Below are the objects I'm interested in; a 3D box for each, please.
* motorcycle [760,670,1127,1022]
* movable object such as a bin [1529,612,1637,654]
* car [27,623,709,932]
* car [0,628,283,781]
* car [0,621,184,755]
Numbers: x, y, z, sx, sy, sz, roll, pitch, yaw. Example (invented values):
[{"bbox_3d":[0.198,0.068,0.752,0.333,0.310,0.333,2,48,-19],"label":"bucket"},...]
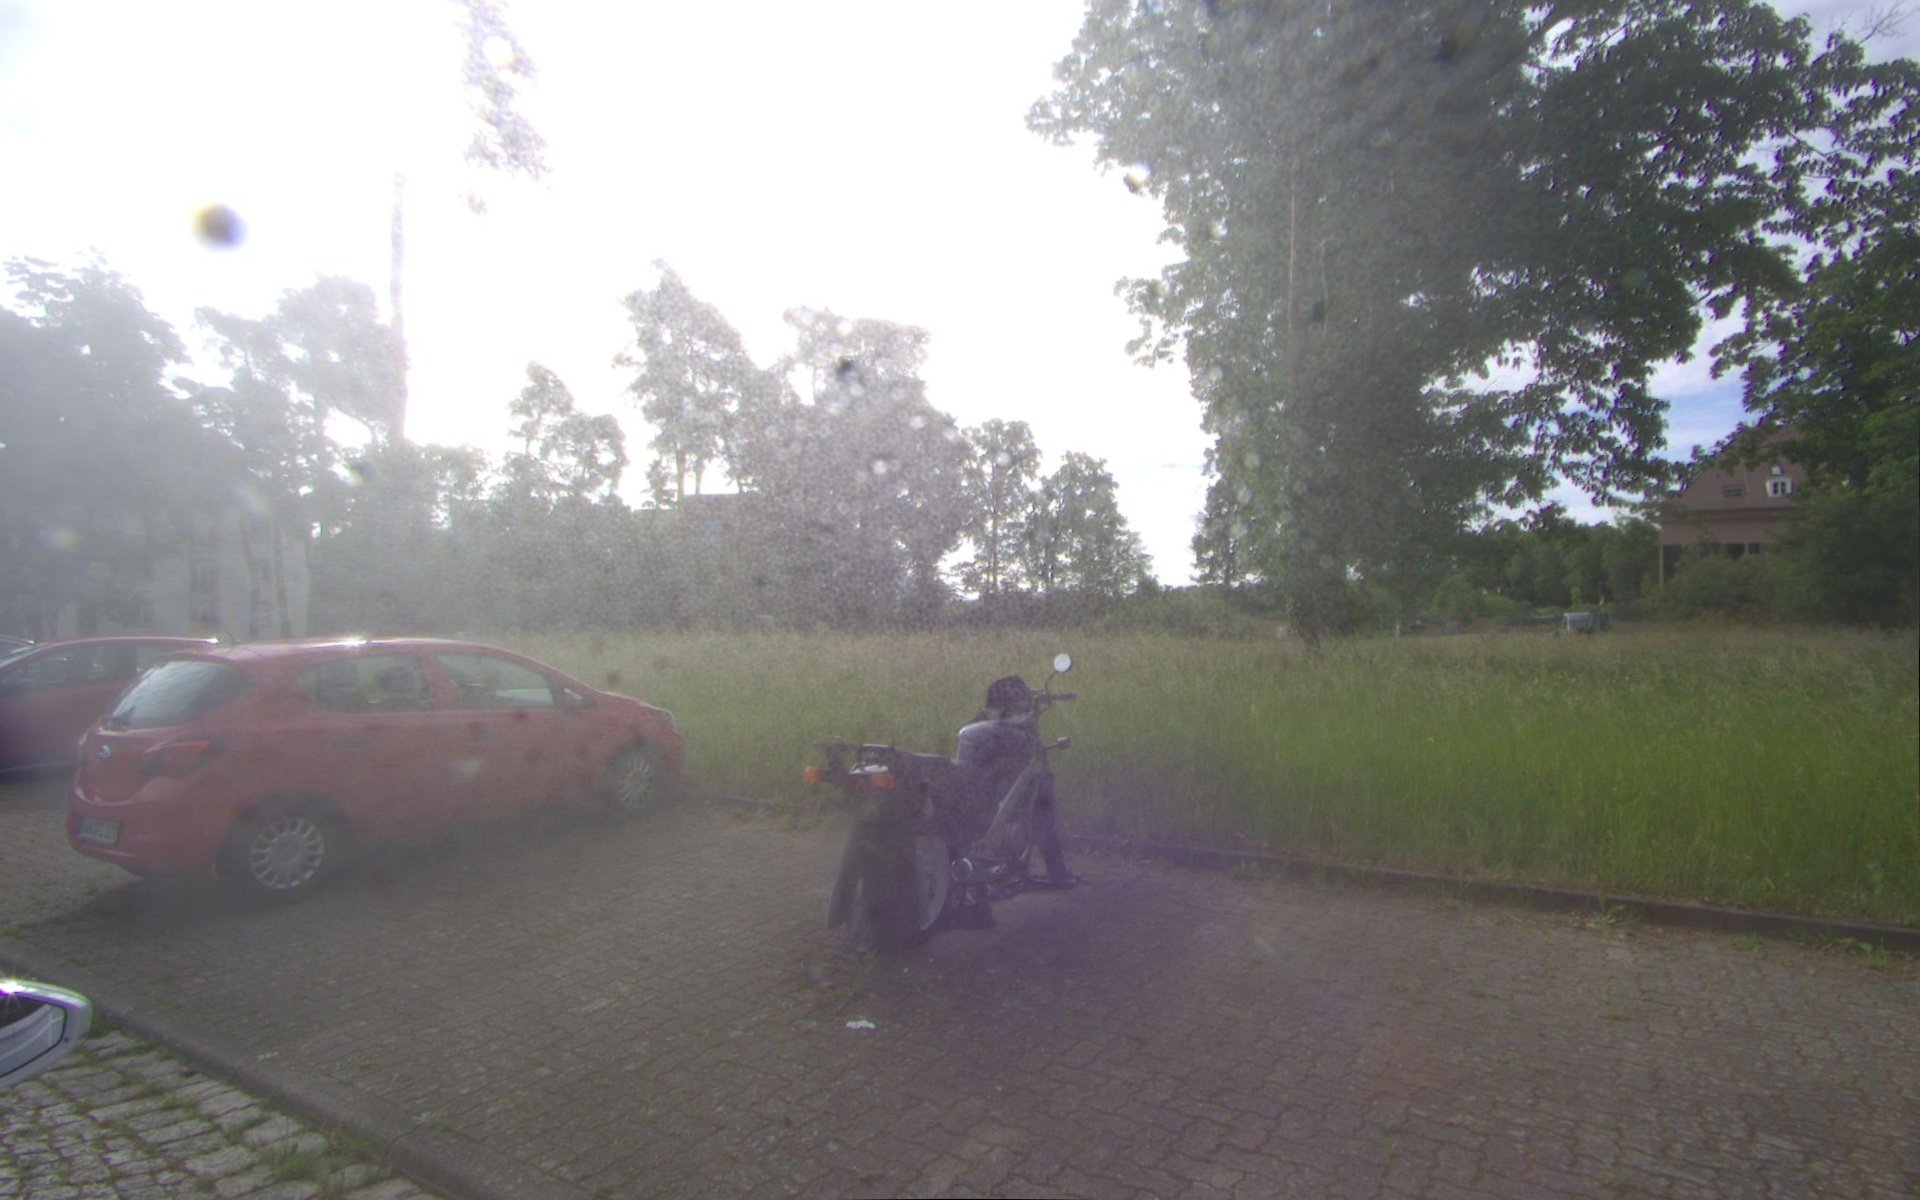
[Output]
[{"bbox_3d":[0.070,1.020,5.024,0.783,1.201,2.324,-1,-1,29],"label":"motorcycle"},{"bbox_3d":[42.525,2.274,68.484,2.152,2.688,5.928,1,-2,-40],"label":"movable object such as a bin"},{"bbox_3d":[-3.833,0.957,7.163,1.753,1.479,3.819,-1,0,31],"label":"car"},{"bbox_3d":[-10.112,1.116,11.233,1.726,1.479,3.785,-1,0,32],"label":"car"},{"bbox_3d":[-12.429,1.107,12.451,1.725,1.573,4.023,-1,0,29],"label":"car"}]
